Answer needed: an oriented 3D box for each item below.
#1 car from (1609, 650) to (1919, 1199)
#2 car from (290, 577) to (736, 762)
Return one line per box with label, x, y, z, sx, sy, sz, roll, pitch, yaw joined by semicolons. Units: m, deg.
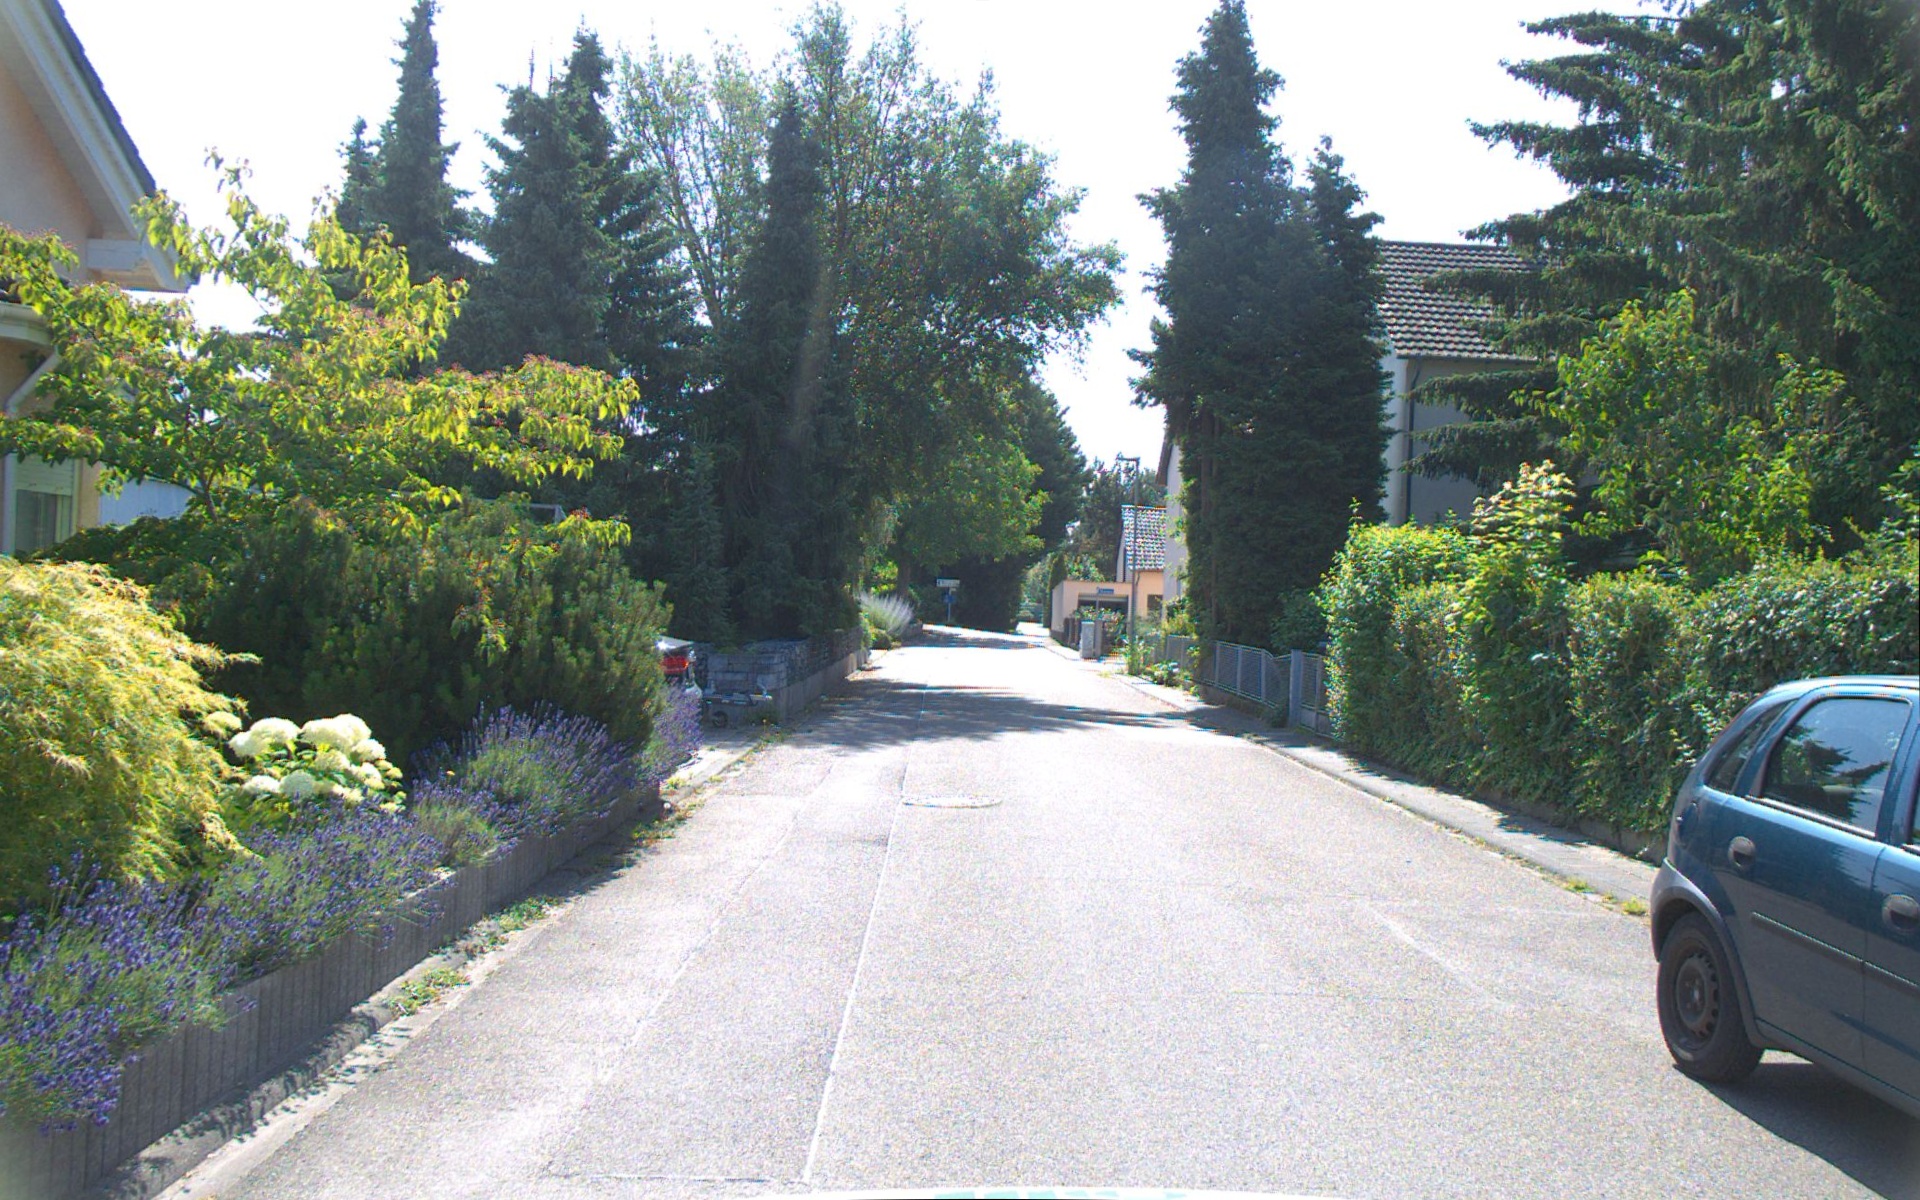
car;3.418;0.941;4.404;1.668;1.424;3.999;3;0;-2
car;-4.043;0.611;15.455;3.661;1.471;1.755;3;0;-3
